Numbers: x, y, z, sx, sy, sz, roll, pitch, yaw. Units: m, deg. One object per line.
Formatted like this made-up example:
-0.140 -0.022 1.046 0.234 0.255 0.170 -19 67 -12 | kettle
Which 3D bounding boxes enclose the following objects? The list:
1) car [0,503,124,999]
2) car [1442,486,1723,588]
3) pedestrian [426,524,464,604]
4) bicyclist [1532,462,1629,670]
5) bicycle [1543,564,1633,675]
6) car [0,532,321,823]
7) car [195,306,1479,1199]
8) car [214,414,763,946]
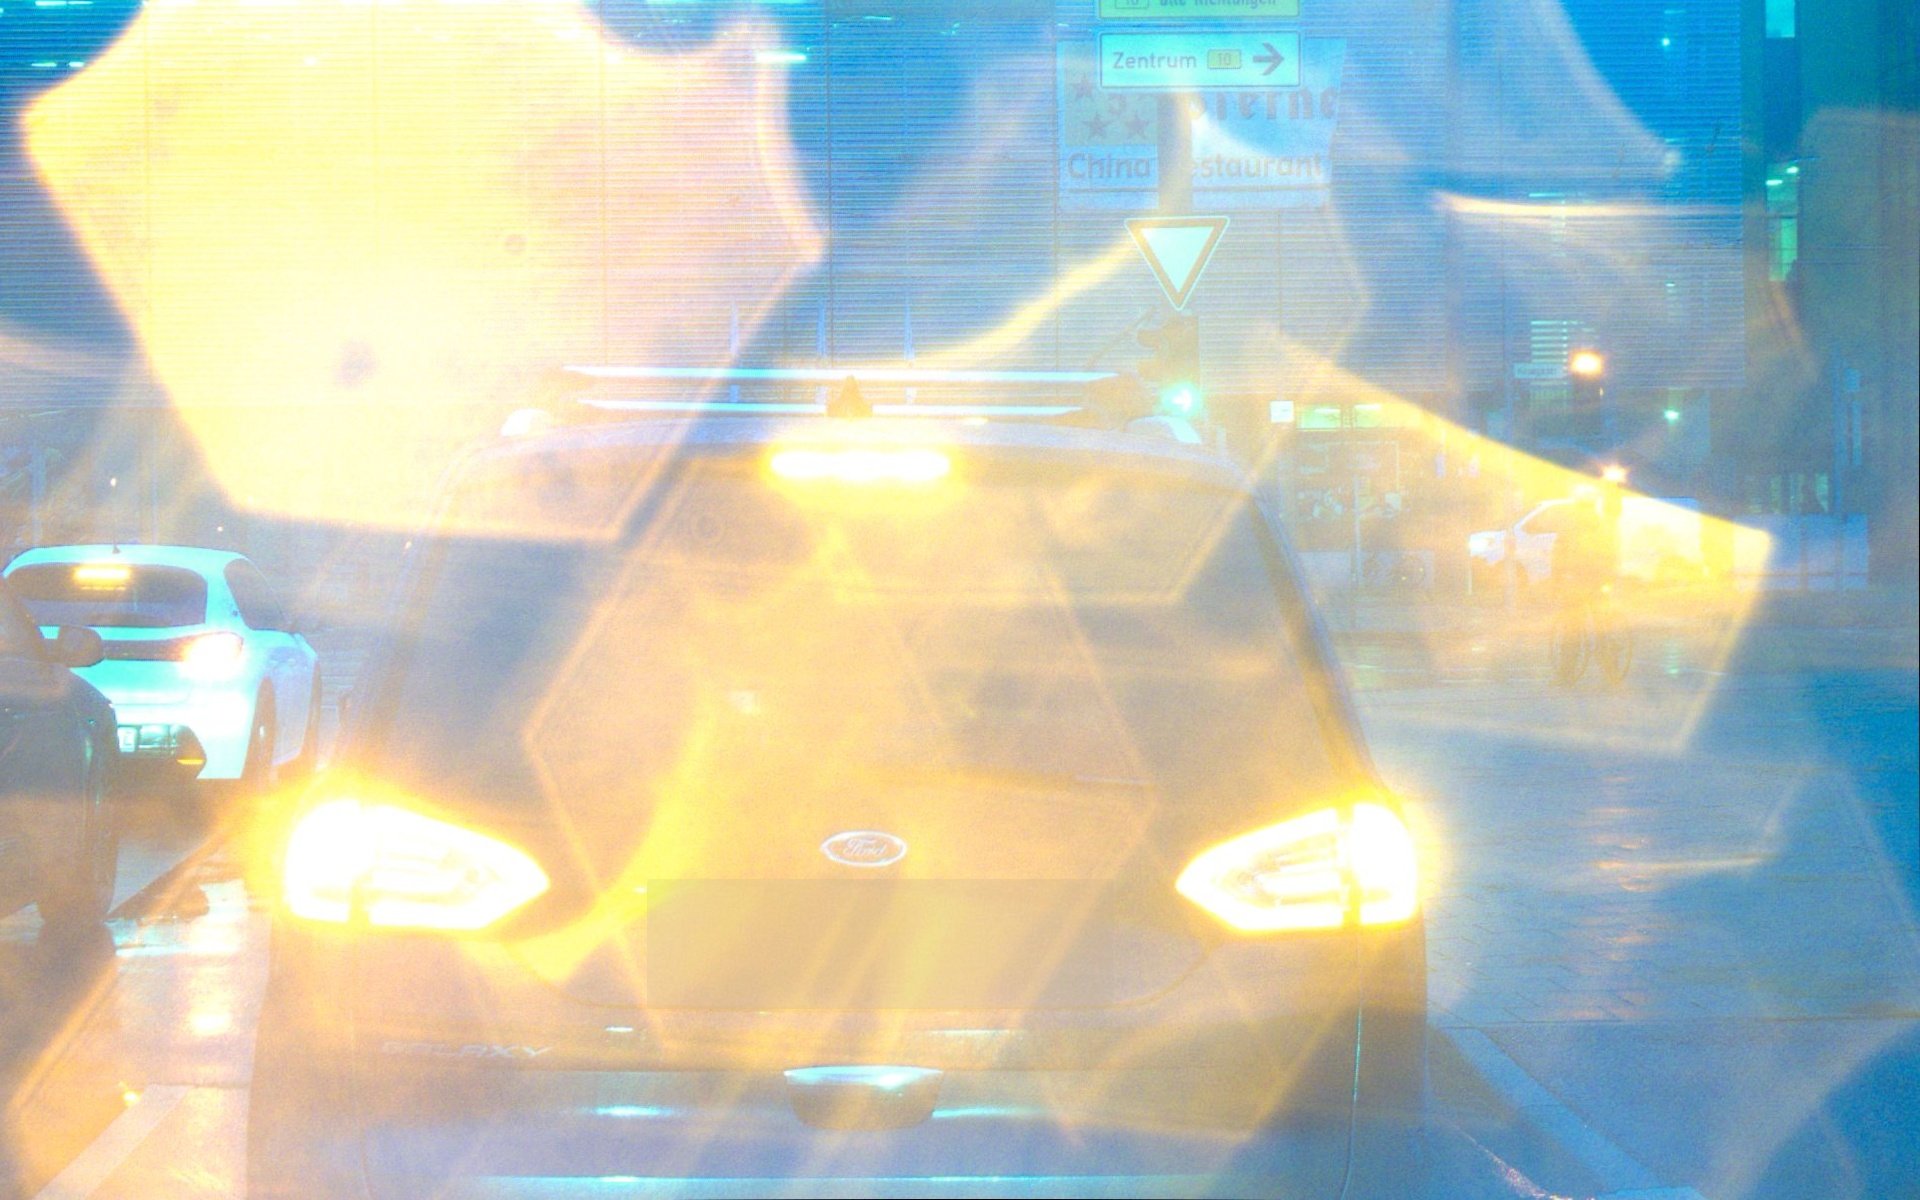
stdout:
-4.040 0.469 11.608 1.820 1.564 4.363 -1 1 -7 | car
11.907 -1.209 65.921 4.945 1.865 1.905 -1 1 -6 | car
-11.659 -0.820 77.782 0.787 1.781 0.733 -1 1 -5 | pedestrian
5.723 -0.316 31.749 0.791 1.884 0.989 -1 1 5 | bicyclist
5.801 0.162 31.817 0.655 0.970 1.866 -1 1 5 | bicycle
-4.630 0.352 19.235 1.758 1.458 3.918 0 1 -6 | car
-0.204 0.477 6.555 1.674 1.773 4.000 1 1 -1 | car
-1.818 0.217 14.003 1.843 1.800 4.488 -1 1 -5 | car
